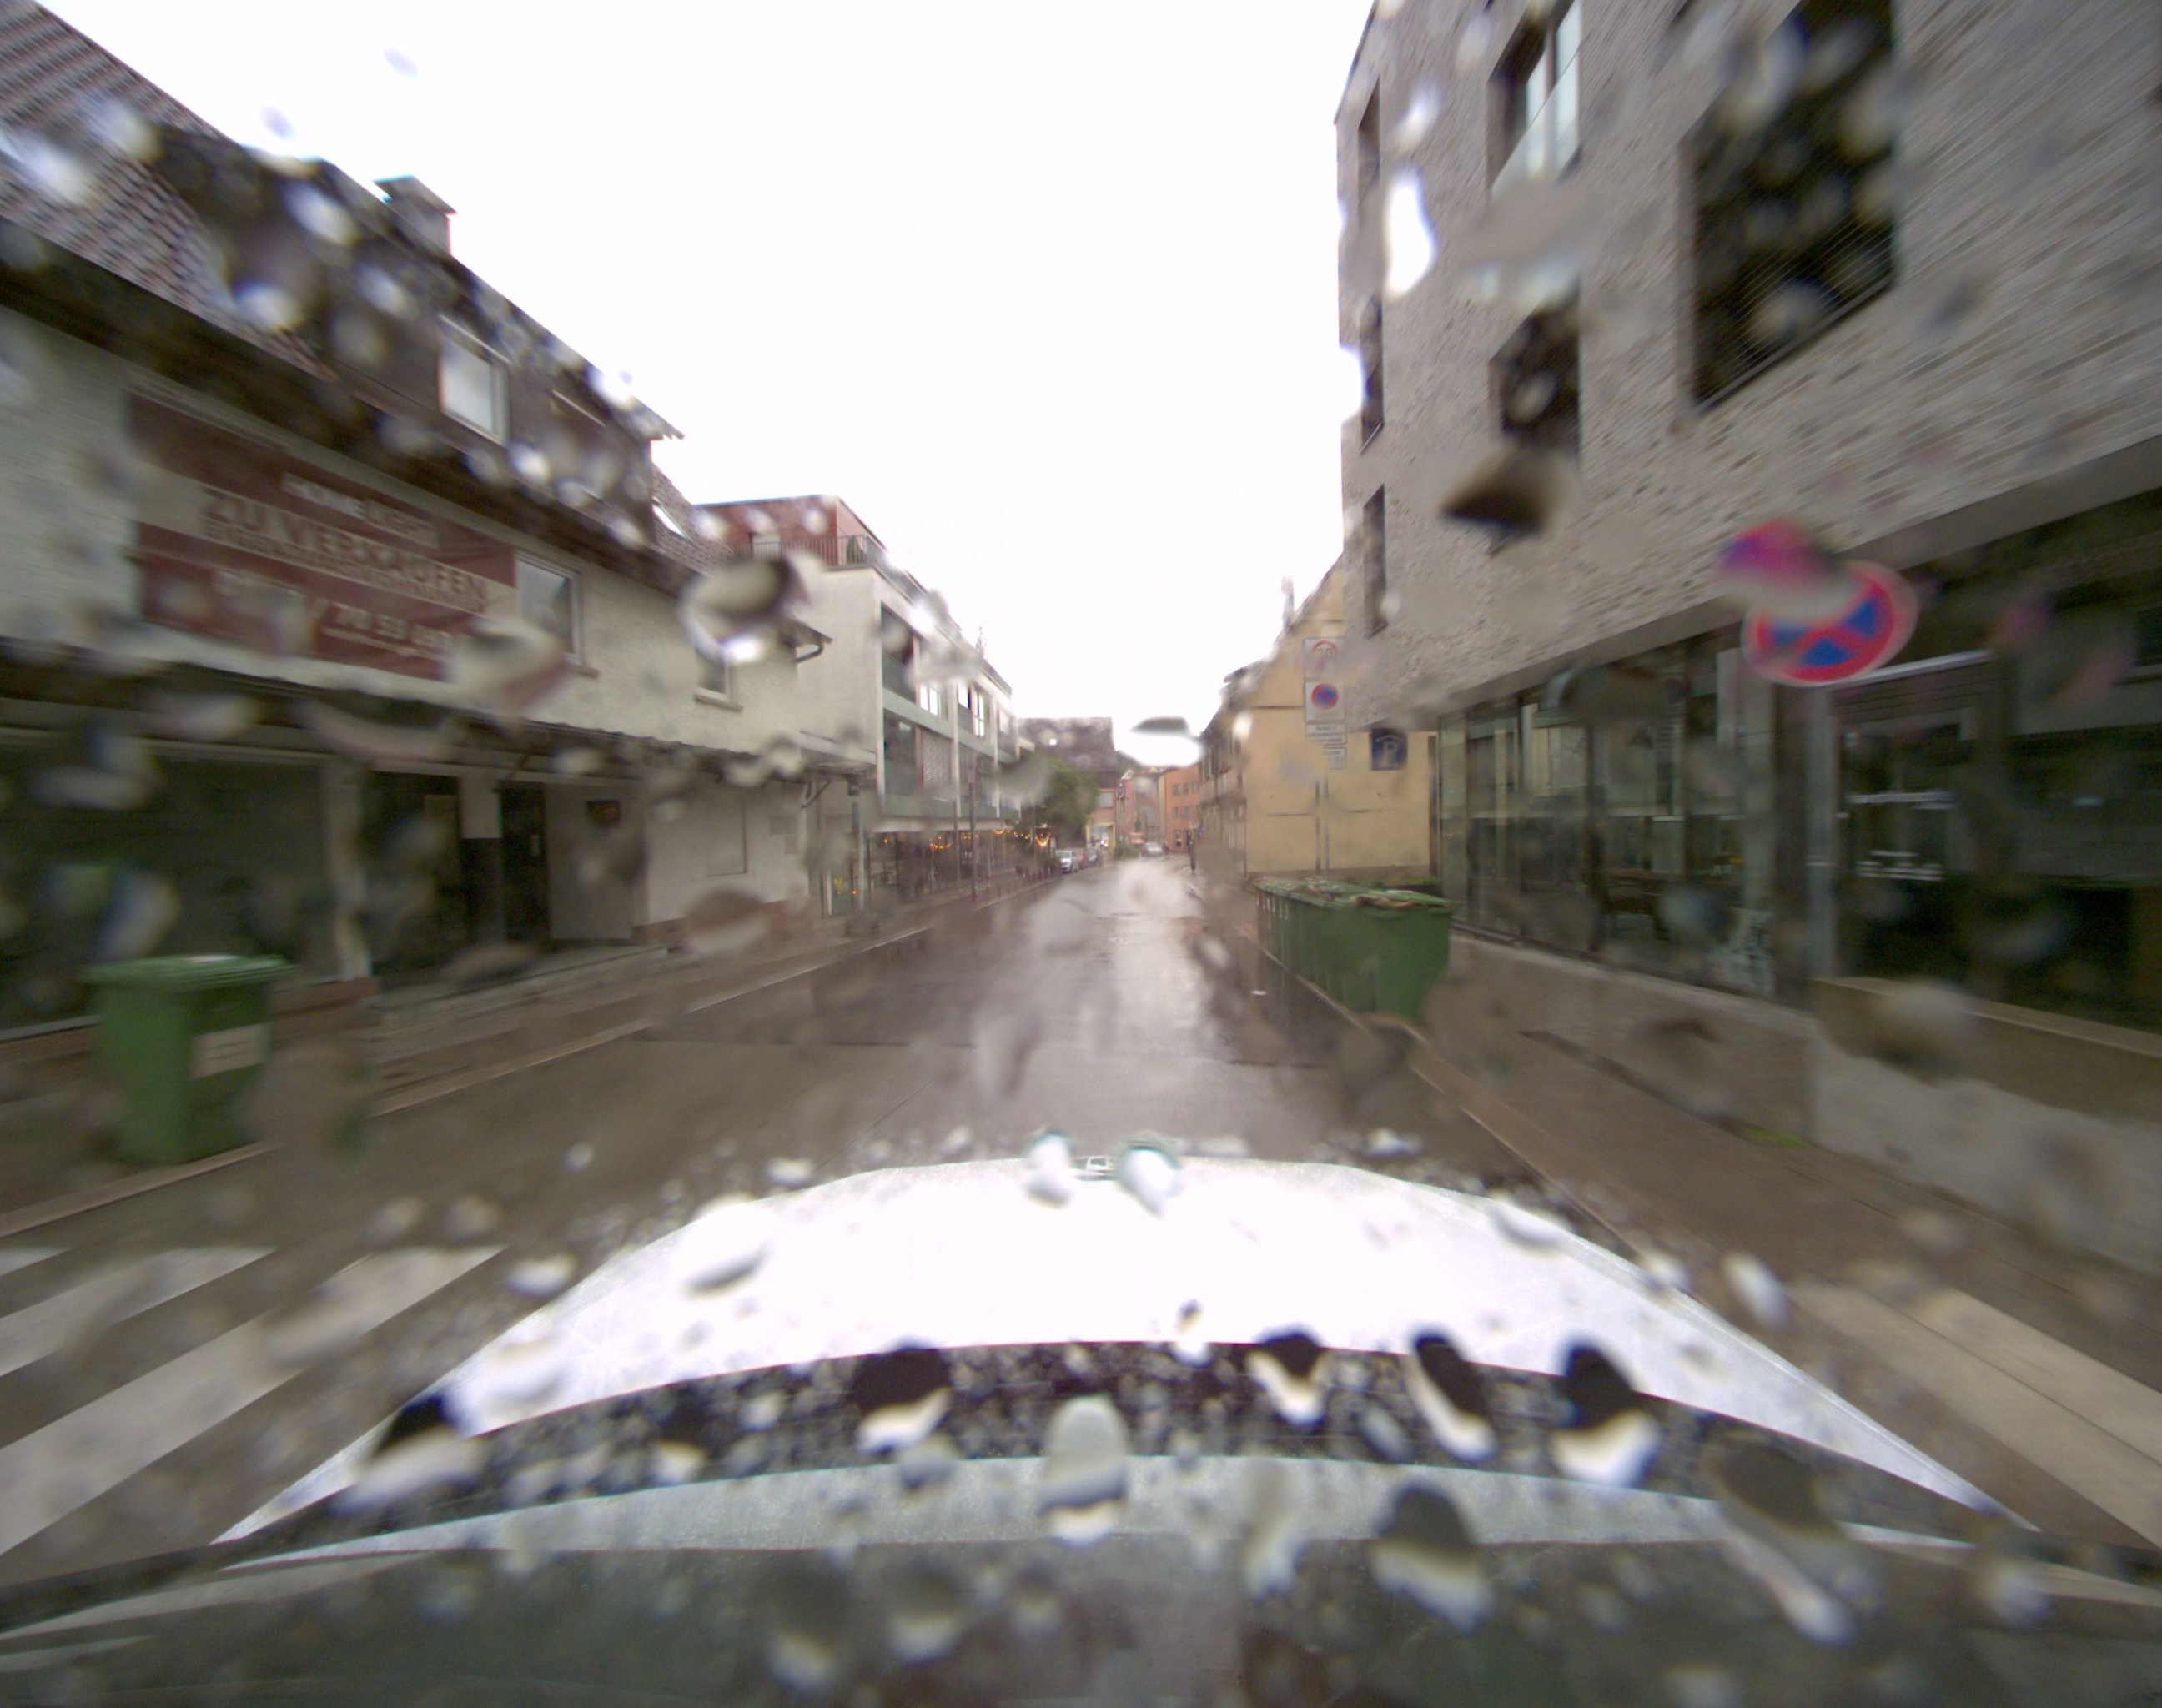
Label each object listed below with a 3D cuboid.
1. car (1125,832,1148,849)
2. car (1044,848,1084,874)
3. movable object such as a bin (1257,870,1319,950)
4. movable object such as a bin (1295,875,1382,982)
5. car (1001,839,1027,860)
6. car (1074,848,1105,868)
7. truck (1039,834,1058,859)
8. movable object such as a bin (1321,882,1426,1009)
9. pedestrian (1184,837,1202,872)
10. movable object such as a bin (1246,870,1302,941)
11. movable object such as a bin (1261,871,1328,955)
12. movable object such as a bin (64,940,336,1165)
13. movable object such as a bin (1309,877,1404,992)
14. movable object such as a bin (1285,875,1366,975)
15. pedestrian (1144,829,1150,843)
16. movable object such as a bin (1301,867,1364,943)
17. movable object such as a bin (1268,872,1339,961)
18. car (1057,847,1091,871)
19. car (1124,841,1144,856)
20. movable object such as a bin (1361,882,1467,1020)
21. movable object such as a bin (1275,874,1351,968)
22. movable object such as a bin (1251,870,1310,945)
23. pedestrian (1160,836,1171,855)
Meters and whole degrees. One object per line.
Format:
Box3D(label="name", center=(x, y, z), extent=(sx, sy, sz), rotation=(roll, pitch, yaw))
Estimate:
Box3D(label="car", center=(7.592, -1.869, 112.130), extent=(2.103, 2.146, 4.853), rotation=(-3, 1, -9))
Box3D(label="car", center=(-1.053, 0.437, 52.786), extent=(1.776, 1.498, 4.465), rotation=(-2, 0, 8))
Box3D(label="movable object such as a bin", center=(3.044, 0.816, 12.028), extent=(0.762, 1.095, 0.582), rotation=(-3, 0, 3))
Box3D(label="movable object such as a bin", center=(2.832, 0.805, 9.021), extent=(0.762, 1.095, 0.582), rotation=(-3, 0, 3))
Box3D(label="car", center=(-6.414, -0.466, 78.505), extent=(1.803, 1.617, 4.008), rotation=(-1, 5, 5))
Box3D(label="car", center=(0.691, 0.271, 63.491), extent=(1.703, 1.458, 3.922), rotation=(0, 1, 11))
Box3D(label="truck", center=(-3.133, -0.738, 79.136), extent=(1.591, 2.062, 3.195), rotation=(-3, 5, 1))
Box3D(label="movable object such as a bin", center=(2.757, 0.843, 7.742), extent=(0.737, 1.095, 0.658), rotation=(-3, 0, 3))
Box3D(label="pedestrian", center=(6.261, 0.039, 45.550), extent=(0.807, 1.885, 0.908), rotation=(-3, 1, 2))
Box3D(label="movable object such as a bin", center=(3.122, 0.824, 13.220), extent=(0.762, 1.095, 0.582), rotation=(-3, 0, 3))
Box3D(label="movable object such as a bin", center=(2.975, 0.813, 11.410), extent=(0.762, 1.095, 0.582), rotation=(-3, 0, 3))
Box3D(label="movable object such as a bin", center=(-4.947, 1.073, 4.630), extent=(0.684, 1.081, 0.761), rotation=(1, 0, 2))
Box3D(label="movable object such as a bin", center=(2.828, 0.814, 8.416), extent=(0.762, 1.095, 0.582), rotation=(-3, 0, 3))
Box3D(label="movable object such as a bin", center=(2.866, 0.824, 9.608), extent=(0.762, 1.095, 0.582), rotation=(-3, 0, 3))
Box3D(label="pedestrian", center=(10.058, -2.764, 124.040), extent=(0.865, 2.013, 0.707), rotation=(-2, 1, -5))
Box3D(label="movable object such as a bin", center=(3.879, 0.769, 12.594), extent=(0.762, 1.095, 0.627), rotation=(-3, 0, 3))
Box3D(label="movable object such as a bin", center=(2.939, 0.815, 10.817), extent=(0.762, 1.095, 0.582), rotation=(-3, 0, 3))
Box3D(label="car", center=(-0.474, 0.317, 58.572), extent=(1.776, 1.576, 4.117), rotation=(-2, 0, 8))
Box3D(label="car", center=(5.602, -0.615, 86.333), extent=(1.711, 1.458, 3.905), rotation=(-1, 1, -4))
Box3D(label="movable object such as a bin", center=(2.862, 0.817, 7.050), extent=(0.660, 1.095, 0.551), rotation=(-3, 0, 2))
Box3D(label="movable object such as a bin", center=(2.893, 0.826, 10.208), extent=(0.762, 1.095, 0.582), rotation=(-3, 0, 3))
Box3D(label="movable object such as a bin", center=(3.083, 0.817, 12.620), extent=(0.762, 1.095, 0.582), rotation=(-3, 0, 3))
Box3D(label="pedestrian", center=(8.476, -0.854, 82.119), extent=(0.853, 1.914, 0.762), rotation=(-1, 1, 25))
